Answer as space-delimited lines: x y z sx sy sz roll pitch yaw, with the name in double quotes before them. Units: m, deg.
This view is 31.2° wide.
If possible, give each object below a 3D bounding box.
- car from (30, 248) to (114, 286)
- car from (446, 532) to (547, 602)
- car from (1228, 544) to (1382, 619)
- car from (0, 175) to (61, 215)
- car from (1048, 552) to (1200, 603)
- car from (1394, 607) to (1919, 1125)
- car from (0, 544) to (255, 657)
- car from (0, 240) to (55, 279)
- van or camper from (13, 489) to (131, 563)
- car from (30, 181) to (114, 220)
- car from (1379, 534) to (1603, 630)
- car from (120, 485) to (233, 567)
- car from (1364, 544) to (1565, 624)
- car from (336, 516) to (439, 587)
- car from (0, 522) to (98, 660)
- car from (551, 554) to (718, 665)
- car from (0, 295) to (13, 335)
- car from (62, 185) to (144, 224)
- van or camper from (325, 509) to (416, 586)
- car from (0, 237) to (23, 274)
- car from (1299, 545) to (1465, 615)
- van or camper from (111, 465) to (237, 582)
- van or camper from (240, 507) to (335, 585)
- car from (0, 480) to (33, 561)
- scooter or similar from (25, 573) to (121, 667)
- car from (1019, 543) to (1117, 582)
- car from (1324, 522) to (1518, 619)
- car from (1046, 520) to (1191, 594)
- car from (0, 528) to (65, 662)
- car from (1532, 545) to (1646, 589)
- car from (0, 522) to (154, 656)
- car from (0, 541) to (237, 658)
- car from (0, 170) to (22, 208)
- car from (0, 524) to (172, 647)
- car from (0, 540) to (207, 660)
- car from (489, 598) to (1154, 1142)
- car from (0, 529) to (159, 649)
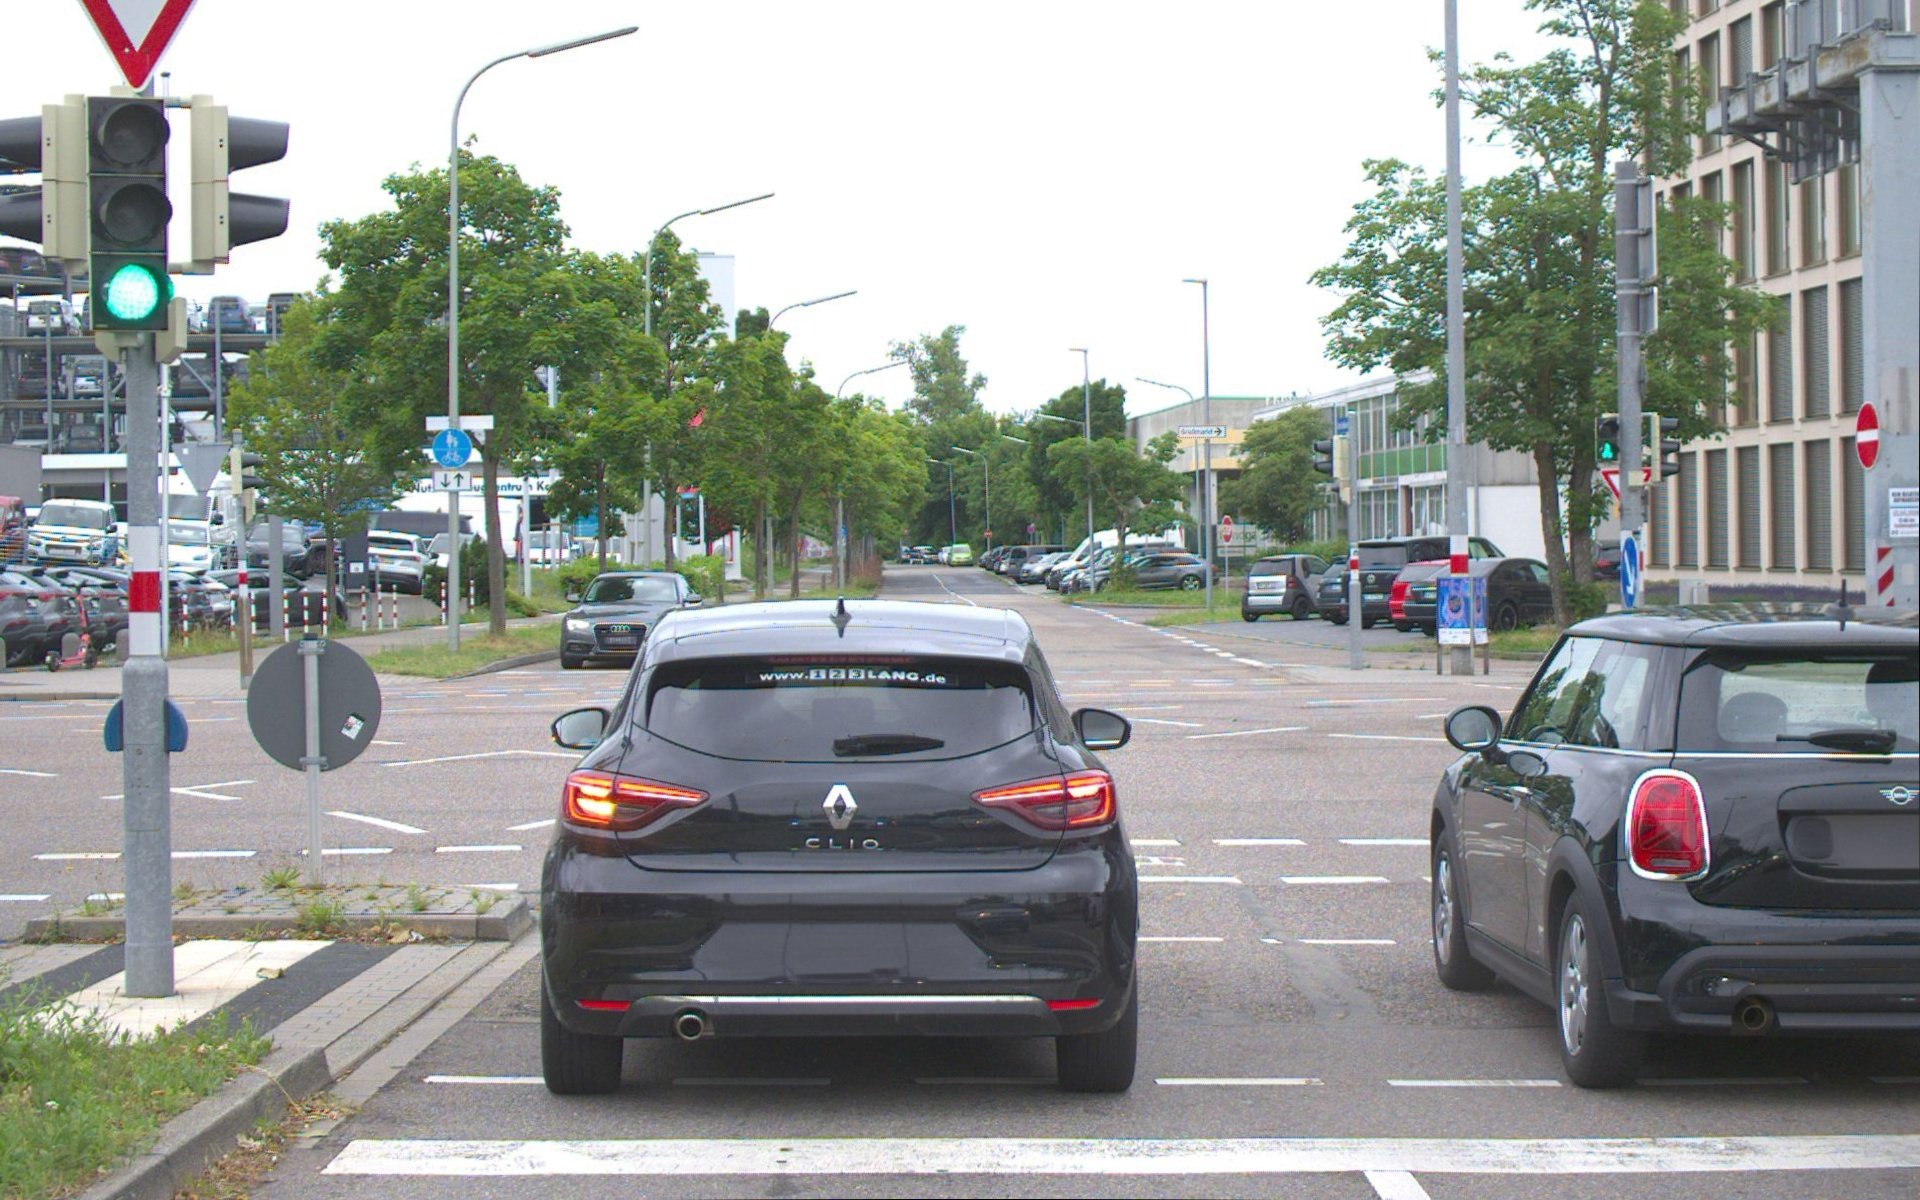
"car" -46.023 -17.242 178.110 3.994 1.662 1.996 1 1 32
"car" -11.118 -0.769 82.727 1.993 1.612 4.000 1 0 -2
"car" 8.247 -0.436 82.093 3.424 1.726 1.765 1 0 -41
"car" -47.897 -20.581 174.933 3.994 1.662 1.996 1 1 32
"car" 5.794 -0.773 121.707 5.173 1.714 2.144 1 0 -2
"car" 2.568 0.744 11.300 1.786 1.411 3.643 1 0 0
"car" -16.648 0.010 68.315 4.892 2.007 2.000 -3 0 -5
"car" -48.175 -17.323 174.770 3.994 1.662 1.996 1 1 32
"van or camper" -21.055 -1.736 81.625 1.993 1.645 4.000 1 0 -4
"car" -46.038 -20.716 178.276 3.994 1.662 1.996 1 1 32
"car" 10.032 -0.338 64.779 4.121 1.762 1.888 -1 0 -39
"car" -18.588 -1.731 81.737 1.993 1.817 4.000 1 0 -4
"car" 10.175 -0.320 69.166 4.122 1.546 1.887 -1 0 -45
"car" -13.620 -1.142 81.956 1.993 1.612 4.000 1 0 -4
"car" -15.587 -0.052 51.812 4.700 2.007 2.000 -3 0 -4
"car" -4.786 0.107 51.171 1.978 1.546 4.614 -1 1 1
"car" -50.509 -14.332 173.313 5.322 1.938 2.207 1 1 28
"car" -44.931 -20.745 180.213 3.994 1.662 1.996 1 1 32
"van or camper" -15.956 -1.397 93.140 1.993 2.007 4.000 1 0 -4
"car" -49.280 -17.262 172.819 3.994 1.662 1.996 1 1 32
"car" 9.325 -0.444 75.775 1.696 1.506 3.808 -1 0 43
"van or camper" -21.135 -2.015 92.667 2.535 3.016 4.844 1 0 -4
"van or camper" -18.156 -1.428 92.960 1.993 2.007 4.000 1 0 -4
"car" -23.508 -1.886 81.877 1.993 1.842 4.000 1 0 -4
"scooter or similar" -12.000 0.262 46.555 0.557 1.214 1.559 2 1 14
"car" 5.427 -1.896 173.723 4.785 1.885 2.144 1 0 -2
"car" 9.736 -0.606 72.369 1.998 1.959 4.235 -1 0 42
"car" 6.872 -1.875 149.735 6.116 3.106 2.134 1 0 -1
"car" -15.468 0.023 49.242 4.771 1.856 2.000 -3 0 -5
"car" 19.956 -1.039 109.058 3.229 1.328 1.486 1 0 -18
"car" -15.626 -0.109 54.820 5.022 2.007 2.266 -3 0 -4
"car" -16.426 0.006 65.483 4.892 2.007 2.000 -3 0 -5
"car" -49.299 -20.608 172.831 3.994 1.662 1.996 1 1 32
"car" -16.330 -0.206 59.944 4.772 2.007 2.000 -3 0 -6
"car" -16.409 0.032 62.763 4.892 2.007 2.000 -3 0 -5
"car" -0.380 0.725 11.186 1.757 1.430 4.000 1 0 0
"car" -16.063 -0.122 57.451 4.945 1.870 2.054 -3 0 -6
